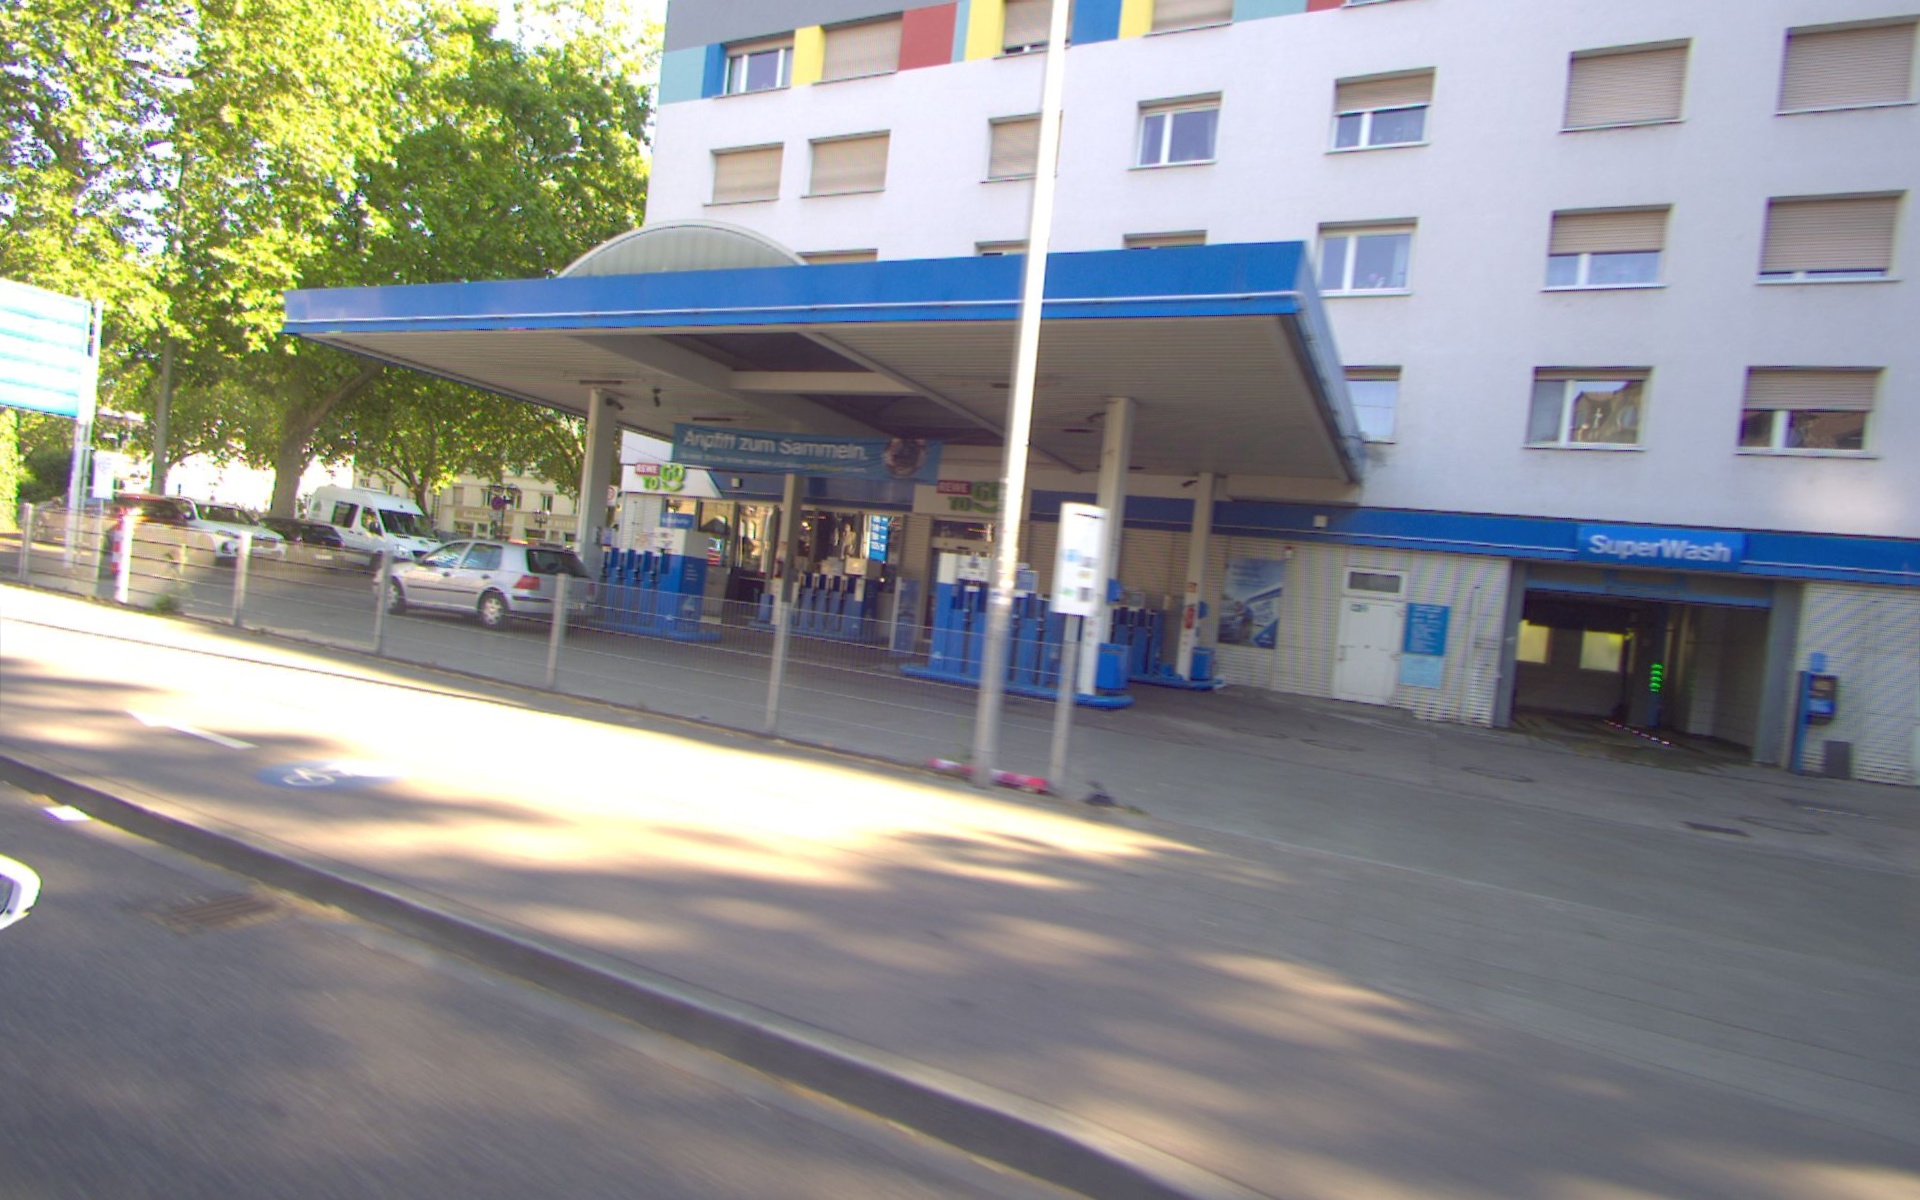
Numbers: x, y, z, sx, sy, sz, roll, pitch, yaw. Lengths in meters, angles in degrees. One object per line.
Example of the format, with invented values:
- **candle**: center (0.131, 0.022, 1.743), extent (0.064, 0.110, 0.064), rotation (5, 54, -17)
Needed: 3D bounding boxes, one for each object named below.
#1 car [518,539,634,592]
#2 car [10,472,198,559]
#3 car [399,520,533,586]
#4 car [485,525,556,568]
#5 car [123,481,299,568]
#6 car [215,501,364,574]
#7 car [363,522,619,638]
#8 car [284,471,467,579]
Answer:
- **car**: center (-15.404, -1.383, 40.393), extent (3.924, 1.614, 1.742), rotation (7, 1, 14)
- **car**: center (-22.379, -2.206, 26.294), extent (4.577, 1.622, 1.822), rotation (8, 1, 23)
- **car**: center (-17.074, -1.629, 34.787), extent (3.928, 1.761, 1.998), rotation (7, 1, 24)
- **car**: center (-36.020, -4.323, 82.571), extent (2.021, 2.656, 5.085), rotation (7, -2, 23)
- **car**: center (-20.800, -2.095, 27.902), extent (4.713, 1.757, 1.864), rotation (8, 1, 26)
- **car**: center (-19.987, -1.862, 29.974), extent (3.929, 1.590, 1.864), rotation (8, 1, 26)
- **car**: center (-7.863, -0.340, 16.813), extent (4.025, 1.449, 1.570), rotation (7, 1, 25)
- **car**: center (-19.254, -2.481, 33.113), extent (5.694, 2.869, 2.245), rotation (7, 1, 26)
